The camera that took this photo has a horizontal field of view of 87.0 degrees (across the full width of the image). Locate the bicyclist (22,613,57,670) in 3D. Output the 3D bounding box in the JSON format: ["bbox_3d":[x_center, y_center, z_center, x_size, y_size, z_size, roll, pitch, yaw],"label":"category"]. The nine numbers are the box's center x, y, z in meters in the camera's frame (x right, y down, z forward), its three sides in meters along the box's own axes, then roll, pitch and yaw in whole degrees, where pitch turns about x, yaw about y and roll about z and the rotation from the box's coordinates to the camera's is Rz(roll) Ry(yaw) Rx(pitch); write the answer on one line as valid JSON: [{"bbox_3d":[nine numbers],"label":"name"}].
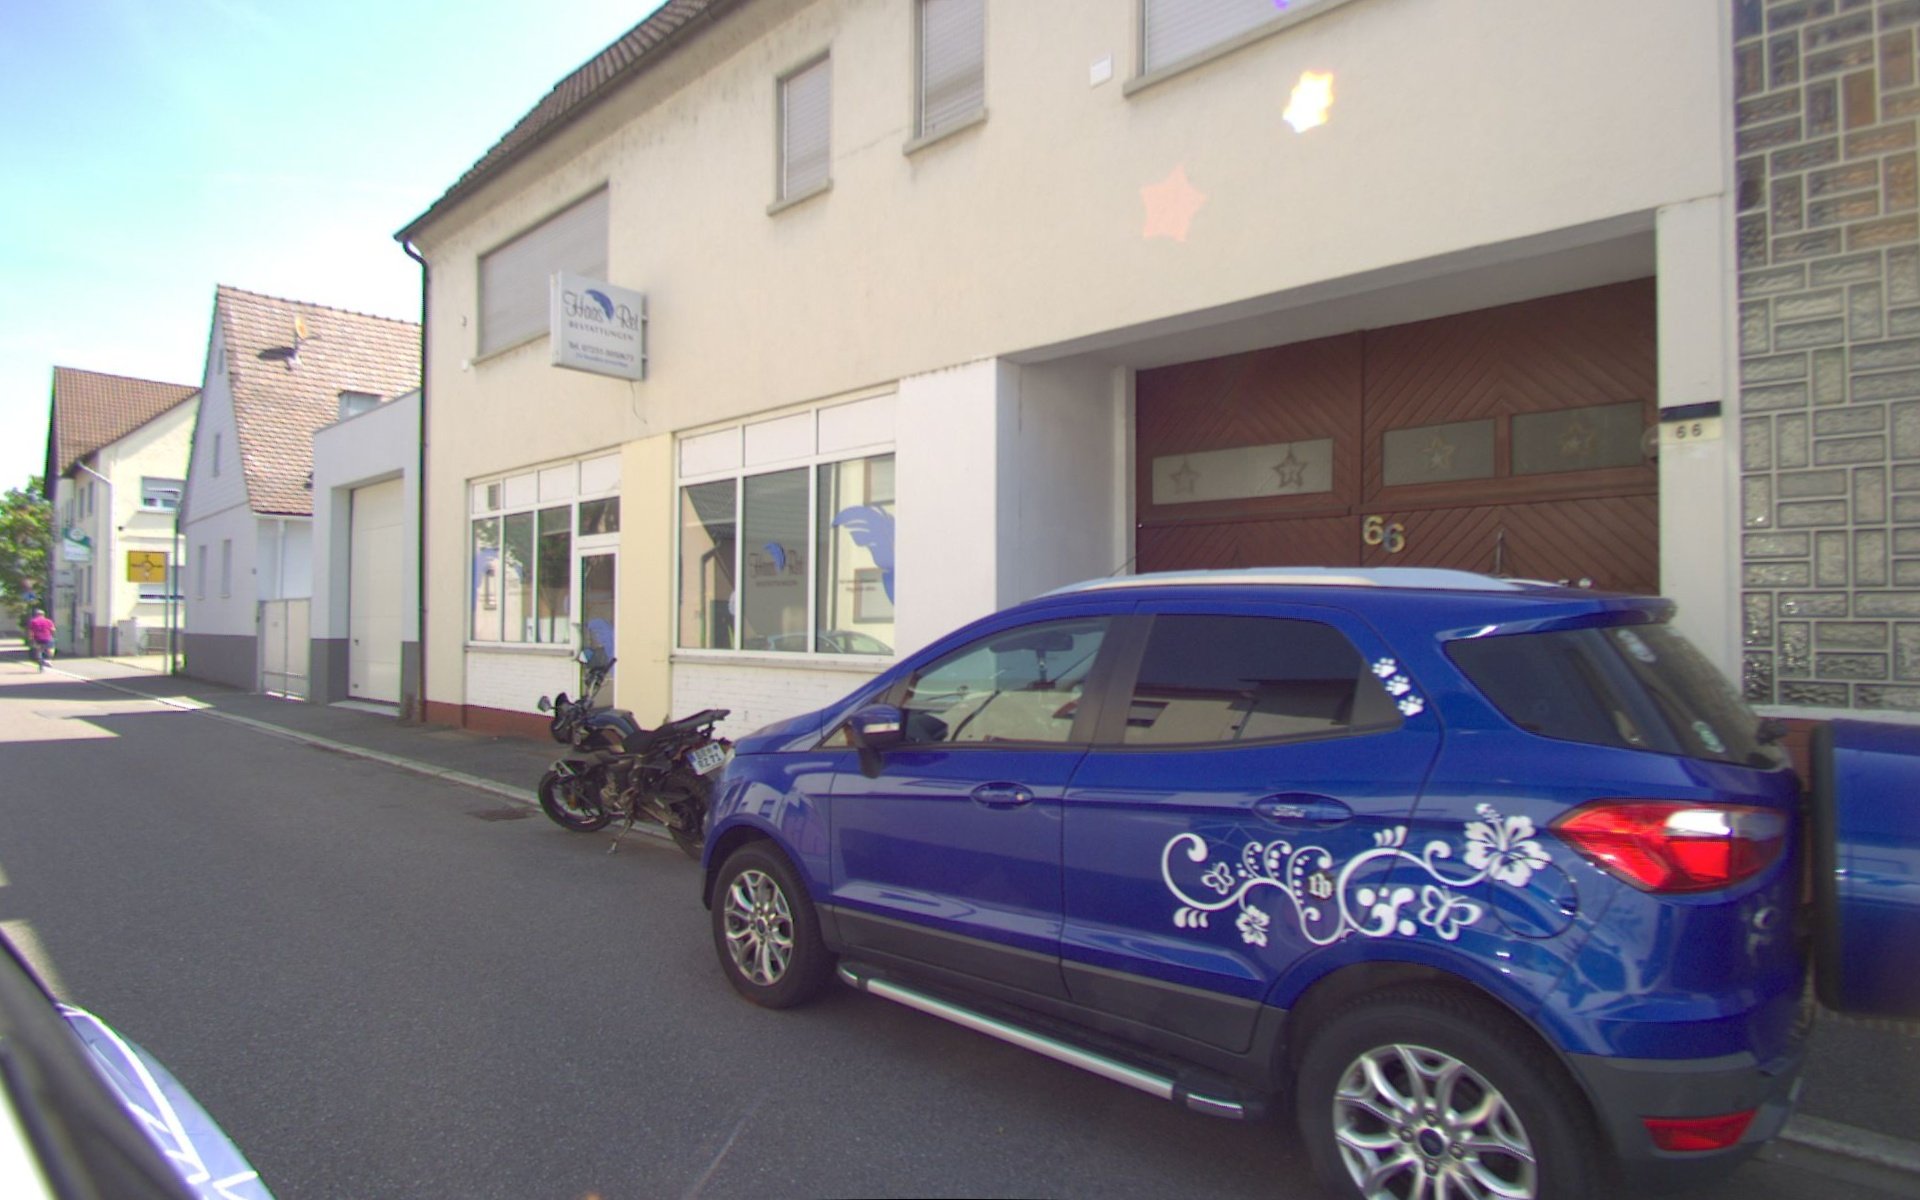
[{"bbox_3d":[-27.391,1.213,30.110,0.738,1.649,0.957,1,-2,-44],"label":"bicyclist"}]

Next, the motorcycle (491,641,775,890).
[{"bbox_3d":[-2.168,0.946,6.538,2.105,1.322,0.799,-1,-2,42],"label":"motorcycle"}]

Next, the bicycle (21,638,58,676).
[{"bbox_3d":[-27.389,1.686,30.107,0.734,1.055,1.941,1,-1,-44],"label":"bicycle"}]

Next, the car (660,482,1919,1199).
[{"bbox_3d":[0.863,0.694,3.550,4.147,1.652,1.699,-1,-4,41],"label":"car"}]
